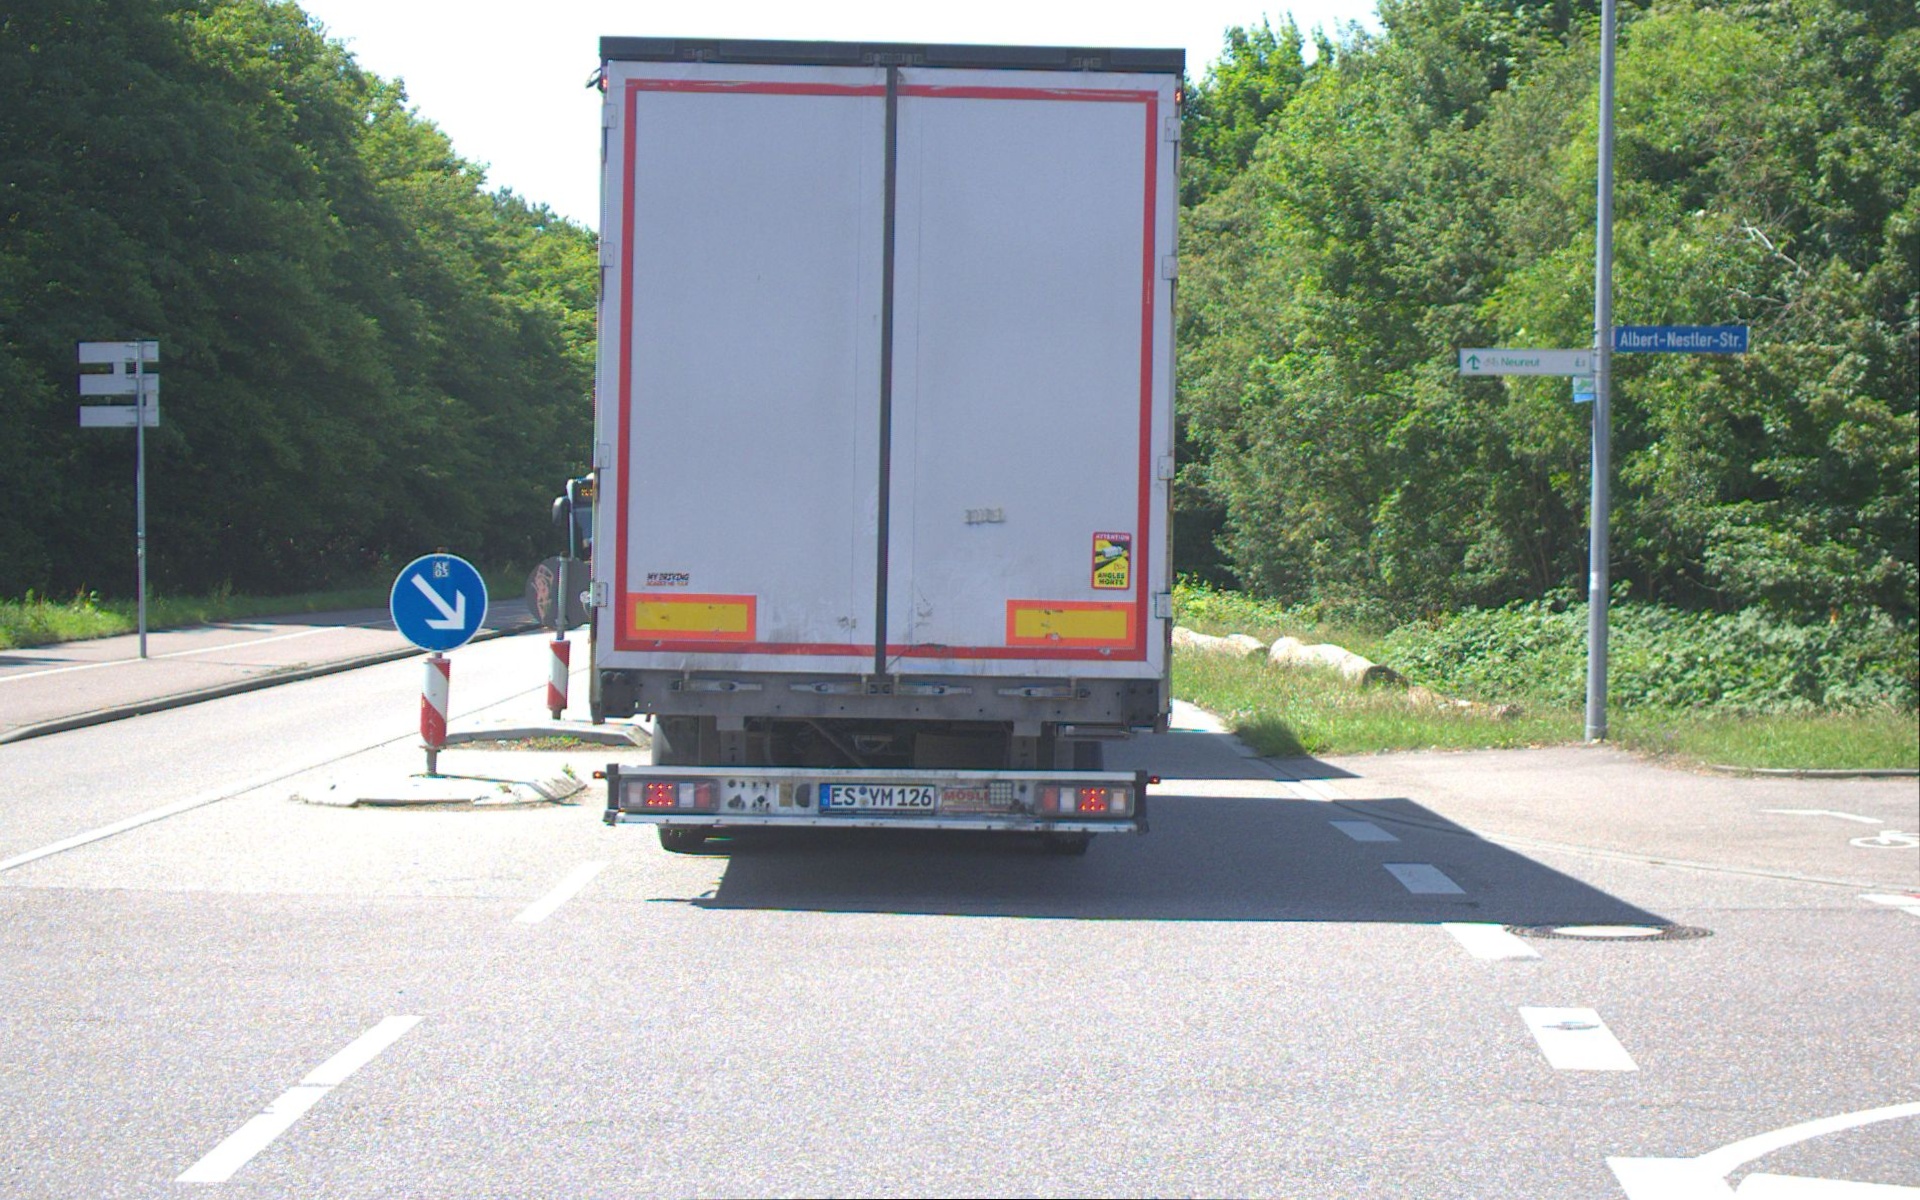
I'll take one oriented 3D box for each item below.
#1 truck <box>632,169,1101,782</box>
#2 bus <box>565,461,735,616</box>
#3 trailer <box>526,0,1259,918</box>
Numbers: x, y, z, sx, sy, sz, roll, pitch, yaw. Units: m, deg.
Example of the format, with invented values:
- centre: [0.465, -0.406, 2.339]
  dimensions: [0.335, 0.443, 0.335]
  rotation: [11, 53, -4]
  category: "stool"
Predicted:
- centre: [-0.813, -0.912, 27.059]
  dimensions: [3.077, 4.056, 7.960]
  rotation: [1, 1, -3]
  category: "truck"
- centre: [-6.580, -1.351, 74.605]
  dimensions: [2.749, 3.035, 11.939]
  rotation: [-1, 1, -1]
  category: "bus"
- centre: [-0.503, -0.780, 19.623]
  dimensions: [3.077, 4.056, 9.810]
  rotation: [1, 1, -3]
  category: "trailer"
